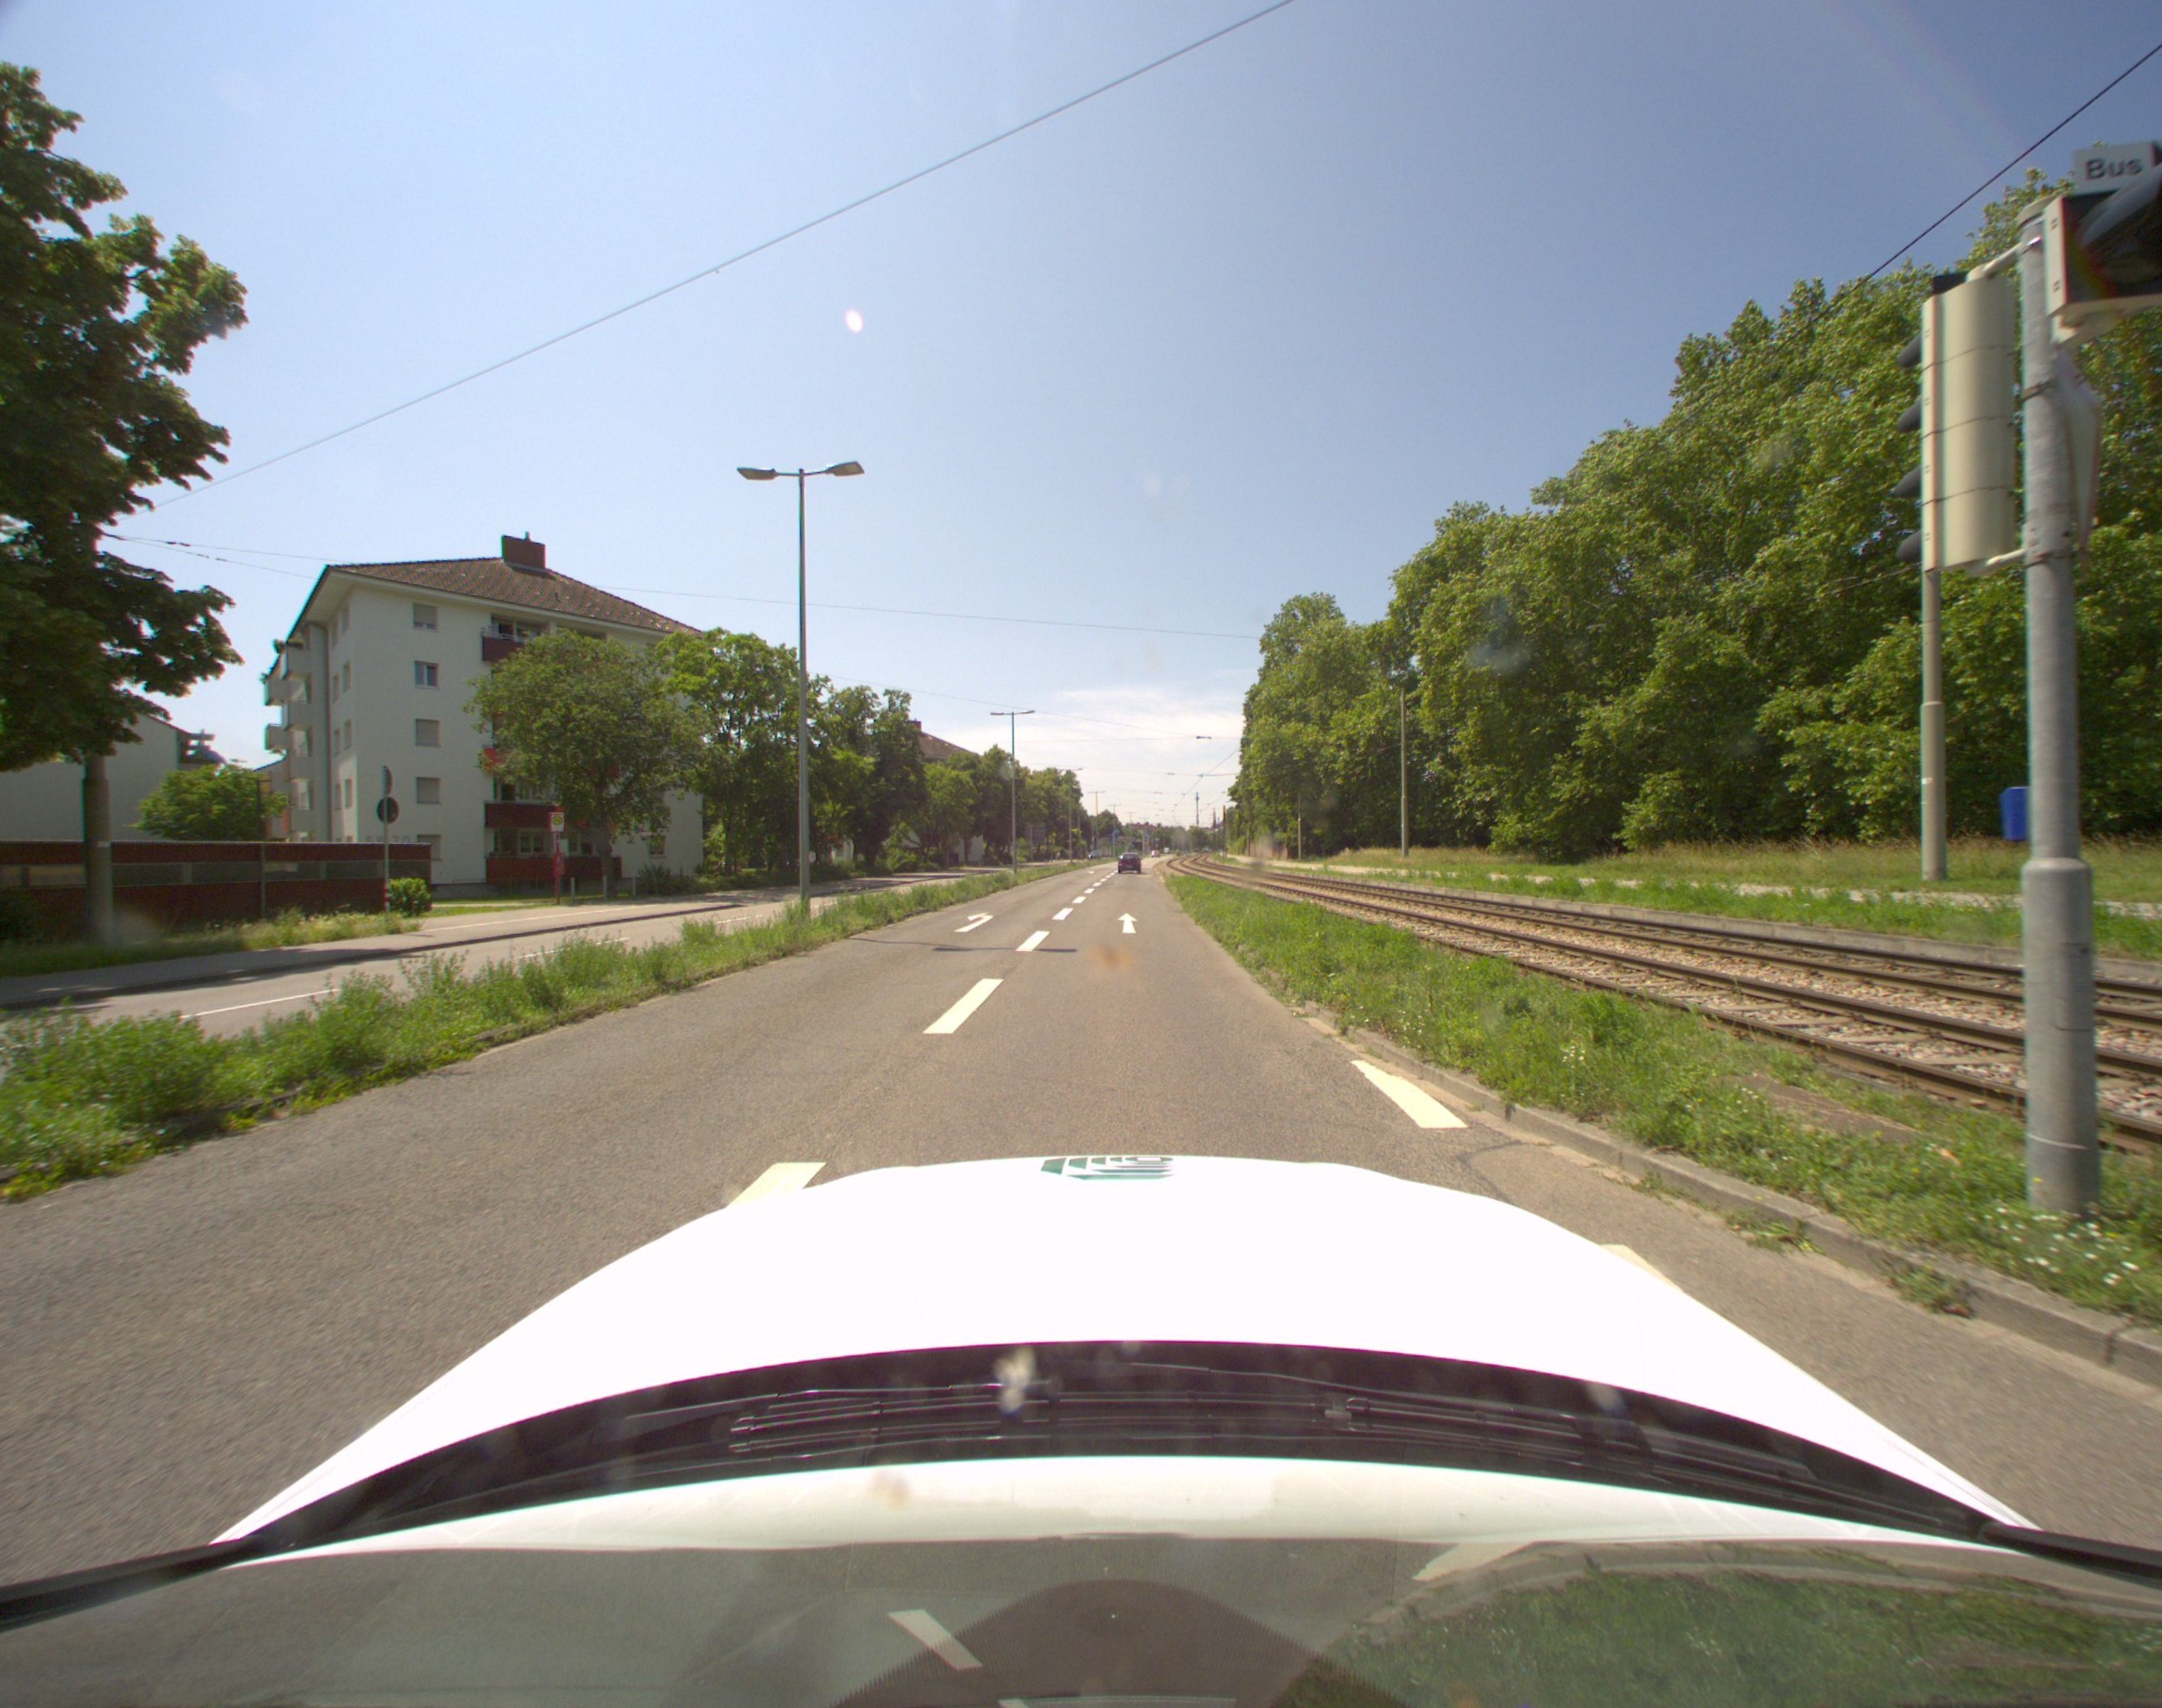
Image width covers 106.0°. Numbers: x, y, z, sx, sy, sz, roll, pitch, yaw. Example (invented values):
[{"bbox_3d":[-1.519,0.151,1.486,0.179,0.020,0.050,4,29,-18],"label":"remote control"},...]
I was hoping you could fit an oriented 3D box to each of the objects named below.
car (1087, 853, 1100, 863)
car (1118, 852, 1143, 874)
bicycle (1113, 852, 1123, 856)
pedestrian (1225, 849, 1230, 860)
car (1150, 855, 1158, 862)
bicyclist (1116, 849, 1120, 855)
[{"bbox_3d":[2.181,0.672,141.178,1.914,1.626,4.763,-2,-1,5],"label":"car"},{"bbox_3d":[3.530,0.668,58.358,1.696,1.477,3.718,1,-1,2],"label":"car"},{"bbox_3d":[9.909,0.002,216.823,2.546,1.038,1.086,1,-1,-5],"label":"bicycle"},{"bbox_3d":[24.393,0.058,135.674,0.658,1.726,0.818,-1,0,8],"label":"pedestrian"},{"bbox_3d":[16.044,0.914,179.441,1.695,1.480,3.721,2,0,4],"label":"car"},{"bbox_3d":[9.863,-0.445,216.853,0.942,1.593,1.086,1,-1,-5],"label":"bicyclist"}]
